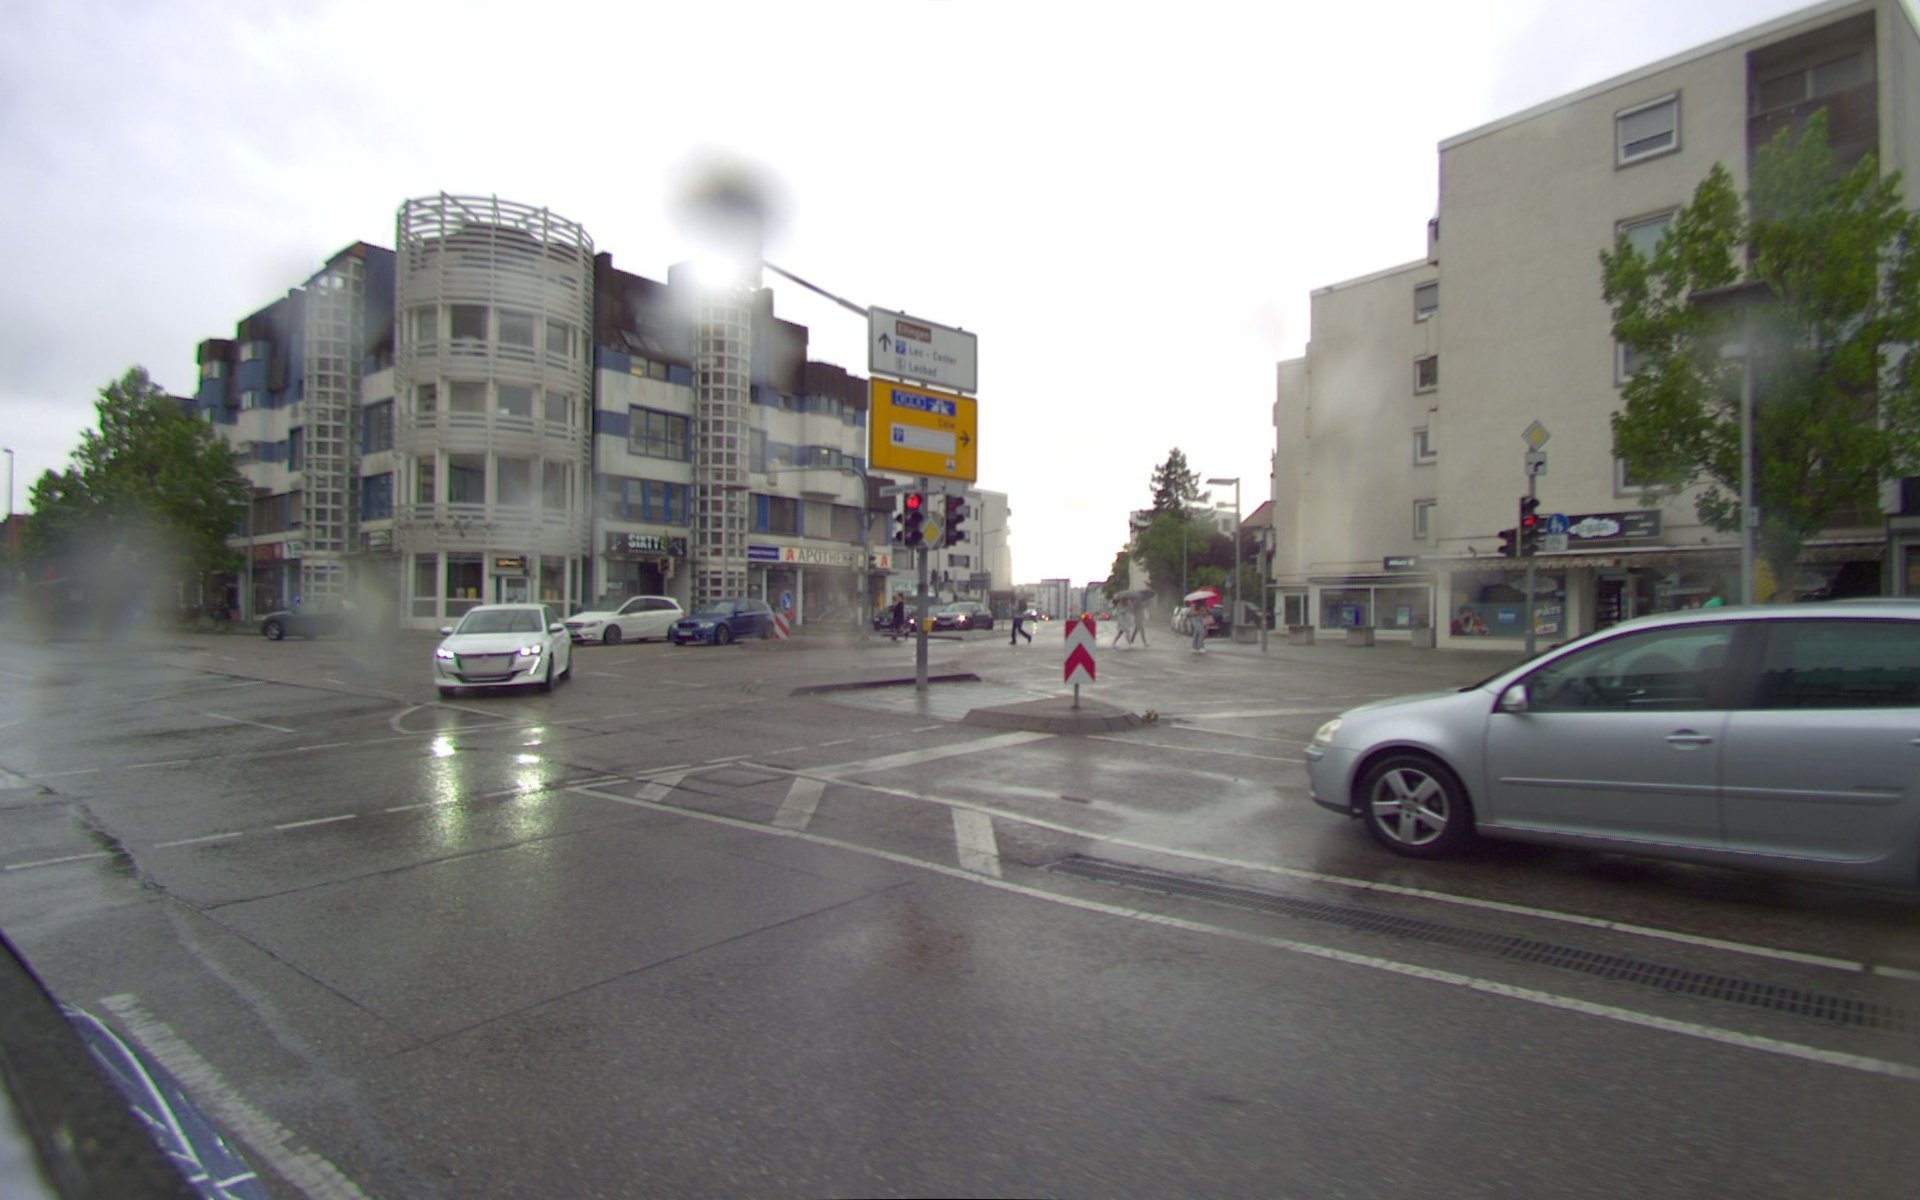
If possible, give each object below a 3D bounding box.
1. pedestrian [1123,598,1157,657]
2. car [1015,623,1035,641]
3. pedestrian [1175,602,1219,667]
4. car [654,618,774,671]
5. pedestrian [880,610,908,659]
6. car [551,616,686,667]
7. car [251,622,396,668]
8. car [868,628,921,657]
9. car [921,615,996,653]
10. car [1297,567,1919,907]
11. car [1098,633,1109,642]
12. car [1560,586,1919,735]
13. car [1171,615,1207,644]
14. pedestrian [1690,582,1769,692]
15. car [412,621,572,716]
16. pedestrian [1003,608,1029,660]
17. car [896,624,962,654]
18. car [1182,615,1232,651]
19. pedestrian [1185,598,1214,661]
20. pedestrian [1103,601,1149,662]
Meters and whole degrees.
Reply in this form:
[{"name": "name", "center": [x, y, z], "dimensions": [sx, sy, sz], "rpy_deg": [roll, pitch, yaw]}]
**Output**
[{"name": "pedestrian", "center": [5.435, 0.813, 30.508], "dimensions": [0.831, 1.749, 0.946], "rpy_deg": [0, 0, 23]}, {"name": "car", "center": [6.456, 3.120, 100.517], "dimensions": [1.725, 1.652, 3.990], "rpy_deg": [0, 0, 8]}, {"name": "pedestrian", "center": [6.342, 0.907, 27.044], "dimensions": [0.934, 1.690, 0.907], "rpy_deg": [0, 0, 30]}, {"name": "car", "center": [-7.654, 1.351, 31.853], "dimensions": [1.741, 1.465, 3.782], "rpy_deg": [0, 0, 24]}, {"name": "pedestrian", "center": [-2.203, 1.140, 33.917], "dimensions": [0.652, 1.597, 0.908], "rpy_deg": [0, 0, 20]}, {"name": "car", "center": [-11.120, 1.311, 33.191], "dimensions": [1.729, 1.540, 4.020], "rpy_deg": [-1, -1, 31]}, {"name": "car", "center": [-22.152, 1.553, 35.317], "dimensions": [3.992, 1.455, 1.734], "rpy_deg": [-1, 0, 2]}, {"name": "car", "center": [-3.505, 2.267, 54.805], "dimensions": [1.641, 1.382, 3.711], "rpy_deg": [2, 0, 16]}, {"name": "car", "center": [-0.020, 1.536, 46.748], "dimensions": [1.988, 1.627, 3.968], "rpy_deg": [-2, -1, 24]}, {"name": "car", "center": [4.138, 0.618, 5.525], "dimensions": [3.994, 1.452, 1.721], "rpy_deg": [-3, -2, 45]}, {"name": "car", "center": [25.881, 6.818, 182.706], "dimensions": [1.851, 1.447, 3.730], "rpy_deg": [0, 0, 9]}, {"name": "car", "center": [9.813, 0.576, 11.127], "dimensions": [2.087, 1.424, 5.161], "rpy_deg": [-1, 1, -30]}, {"name": "car", "center": [12.997, 1.657, 57.527], "dimensions": [1.618, 1.511, 4.335], "rpy_deg": [0, 0, 8]}, {"name": "pedestrian", "center": [11.996, 0.555, 15.776], "dimensions": [0.937, 1.635, 0.810], "rpy_deg": [0, 0, -42]}, {"name": "car", "center": [-7.831, 1.082, 17.295], "dimensions": [1.715, 1.420, 3.906], "rpy_deg": [0, -1, -13]}, {"name": "pedestrian", "center": [1.835, 1.101, 33.140], "dimensions": [0.708, 1.668, 0.811], "rpy_deg": [0, 0, 14]}, {"name": "car", "center": [-1.527, 1.962, 51.773], "dimensions": [1.792, 1.379, 3.939], "rpy_deg": [0, 0, 25]}, {"name": "car", "center": [11.437, 1.501, 47.079], "dimensions": [1.816, 1.471, 4.177], "rpy_deg": [-1, 0, 8]}, {"name": "pedestrian", "center": [6.642, 0.801, 28.060], "dimensions": [0.669, 1.698, 0.801], "rpy_deg": [0, 0, 21]}, {"name": "pedestrian", "center": [4.881, 0.908, 29.685], "dimensions": [1.133, 1.757, 0.852], "rpy_deg": [0, 0, 27]}]
